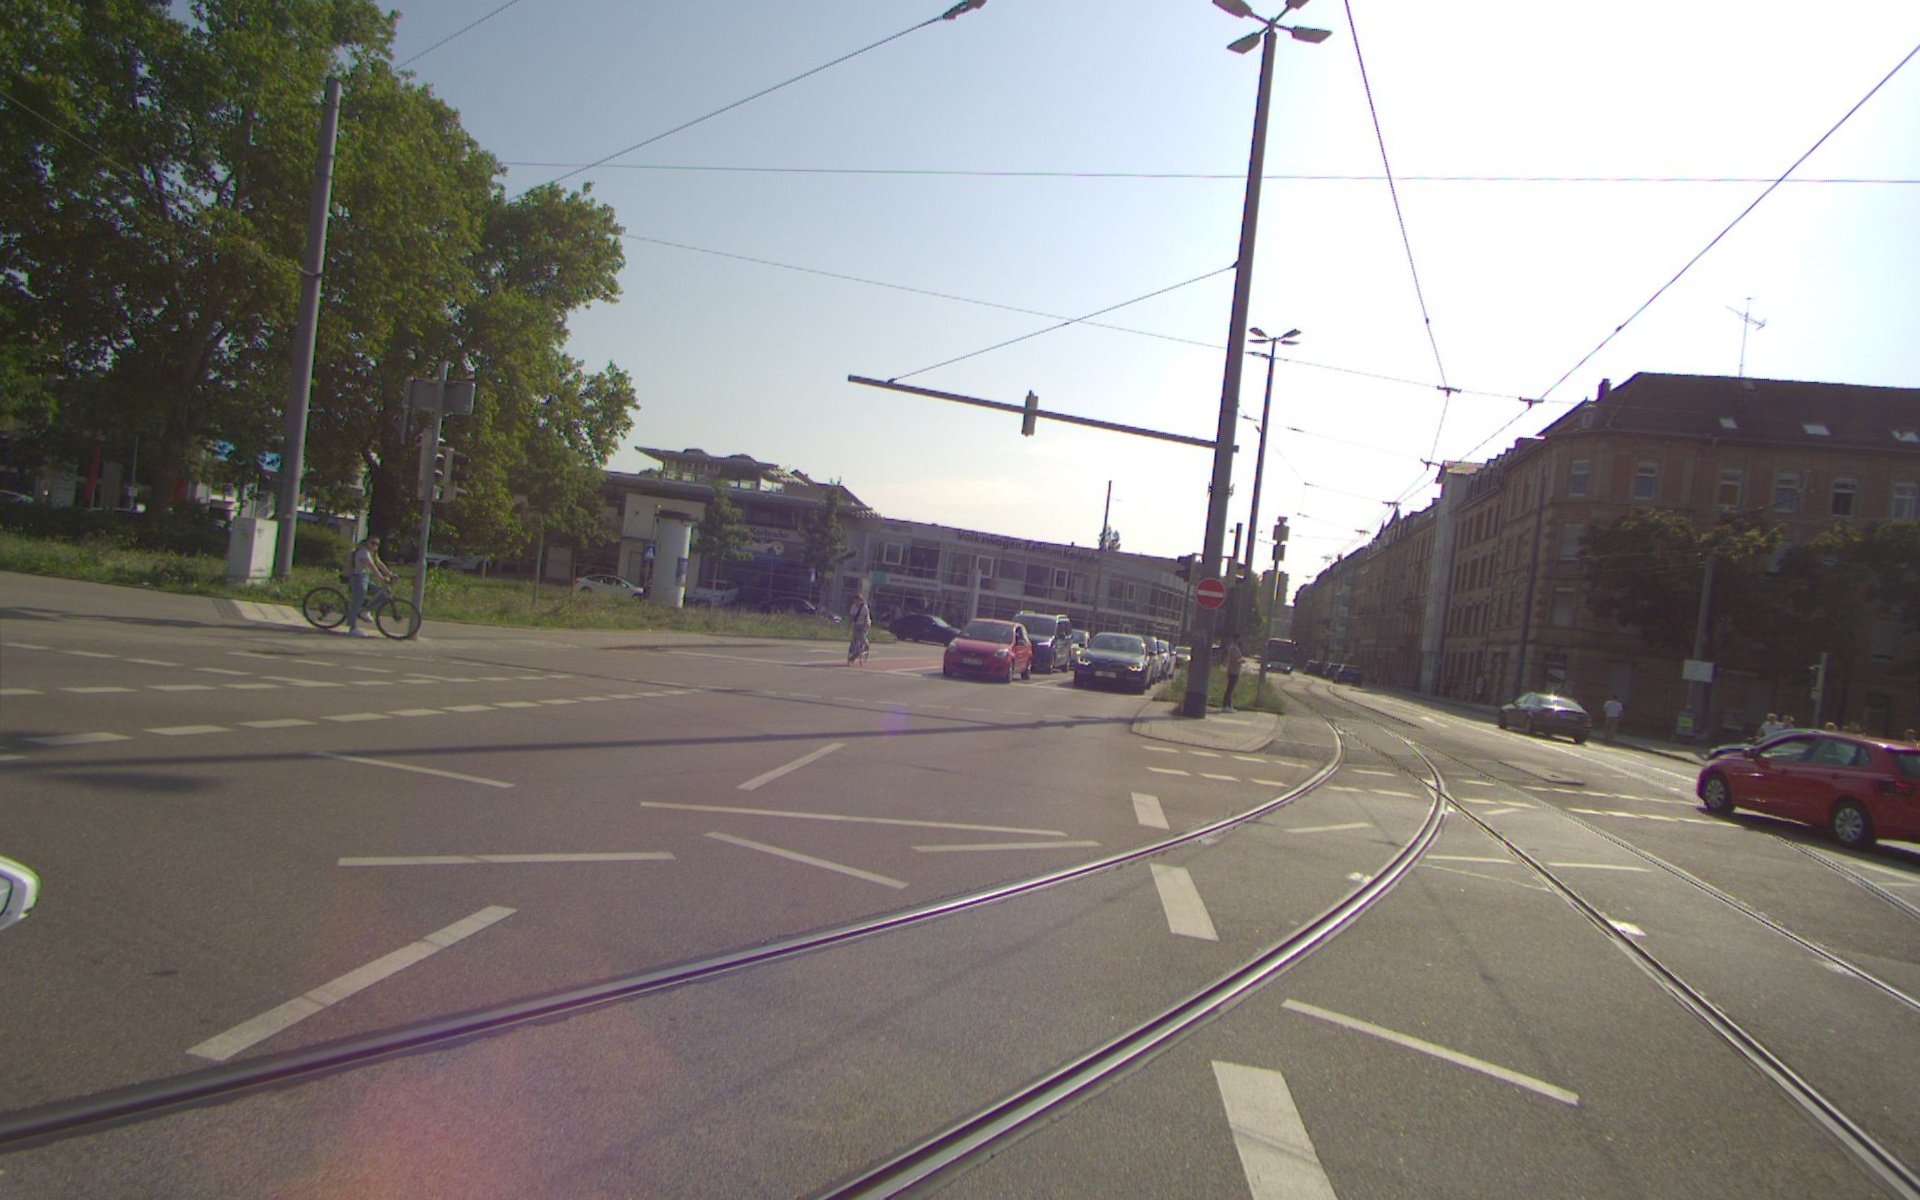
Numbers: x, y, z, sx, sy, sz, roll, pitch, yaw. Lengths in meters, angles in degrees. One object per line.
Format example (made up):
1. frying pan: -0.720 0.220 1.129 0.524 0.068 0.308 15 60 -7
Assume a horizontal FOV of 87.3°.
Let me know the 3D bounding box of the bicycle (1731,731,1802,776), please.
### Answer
1. bicycle: 23.313 4.435 29.102 1.497 1.037 0.434 8 0 7

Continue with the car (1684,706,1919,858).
1. car: 12.222 2.481 13.903 1.645 1.465 3.781 8 0 3

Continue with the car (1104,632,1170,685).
1. car: 5.970 1.925 33.682 1.769 1.453 3.559 8 0 14

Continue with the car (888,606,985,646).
1. car: -1.196 1.333 50.853 4.319 1.387 1.999 8 0 25

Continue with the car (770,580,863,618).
1. car: -7.509 -0.033 52.887 4.314 1.387 2.001 8 0 8

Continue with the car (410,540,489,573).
1. car: -32.809 -2.782 64.765 1.965 1.479 4.059 8 -1 26

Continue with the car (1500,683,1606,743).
1. car: 19.817 3.749 33.810 1.708 1.478 3.842 8 0 11

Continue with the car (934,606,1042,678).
1. car: 0.802 1.059 25.317 1.769 1.433 4.002 8 0 14

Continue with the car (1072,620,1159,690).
1. car: 4.248 1.441 26.953 1.769 1.469 4.353 8 0 14

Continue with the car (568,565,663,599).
1. car: -18.391 -0.946 53.850 4.318 1.180 2.000 8 0 -1

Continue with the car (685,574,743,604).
1. car: -15.571 -0.679 63.884 1.962 1.479 4.327 8 -1 8

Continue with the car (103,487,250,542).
1. car: -30.198 -3.262 38.916 3.942 1.393 1.992 8 0 -18

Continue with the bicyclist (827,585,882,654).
1. bicyclist: -2.506 0.456 23.966 1.068 1.493 0.971 7 0 -2

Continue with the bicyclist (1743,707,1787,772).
1. bicyclist: 23.306 4.022 29.139 0.576 1.738 0.648 8 0 10

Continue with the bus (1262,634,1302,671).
1. bus: 30.786 5.005 96.526 2.843 3.020 11.502 8 0 16

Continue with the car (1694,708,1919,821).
1. car: 17.424 3.267 20.302 1.879 1.493 4.743 8 -1 5

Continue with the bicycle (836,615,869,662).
1. bicycle: -2.542 0.886 23.902 0.519 1.001 2.197 7 0 -2

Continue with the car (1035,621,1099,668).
1. car: 4.092 1.684 38.035 1.769 1.459 3.633 8 0 14

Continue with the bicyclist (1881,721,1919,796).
1. bicyclist: 23.712 3.955 25.165 0.576 1.751 0.596 8 0 10

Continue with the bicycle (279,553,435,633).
1. bicycle: -9.534 -0.107 15.943 2.038 0.904 0.568 10 0 2

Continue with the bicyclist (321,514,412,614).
1. bicyclist: -9.394 -0.554 15.946 0.805 1.444 0.731 8 0 1

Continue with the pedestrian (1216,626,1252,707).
1. pedestrian: 6.216 1.500 22.857 0.516 1.751 0.598 8 0 9

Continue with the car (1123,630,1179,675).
1. car: 7.476 2.017 39.193 1.769 1.433 4.002 8 0 14

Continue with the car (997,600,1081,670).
1. car: 2.640 1.143 32.565 1.769 1.850 4.776 8 0 14

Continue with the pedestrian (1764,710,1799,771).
1. pedestrian: 24.864 4.255 30.472 0.496 1.747 0.624 8 0 26

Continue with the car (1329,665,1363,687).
1. car: 30.408 5.982 79.319 1.708 1.365 3.783 8 0 11

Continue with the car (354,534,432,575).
1. car: -37.379 -2.969 66.339 3.924 2.038 1.948 8 0 9

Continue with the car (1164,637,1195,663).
1. car: 14.419 3.273 65.968 1.769 1.433 4.002 8 0 14

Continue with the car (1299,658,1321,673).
1. car: 38.023 7.086 109.292 1.708 1.365 3.783 8 0 14
